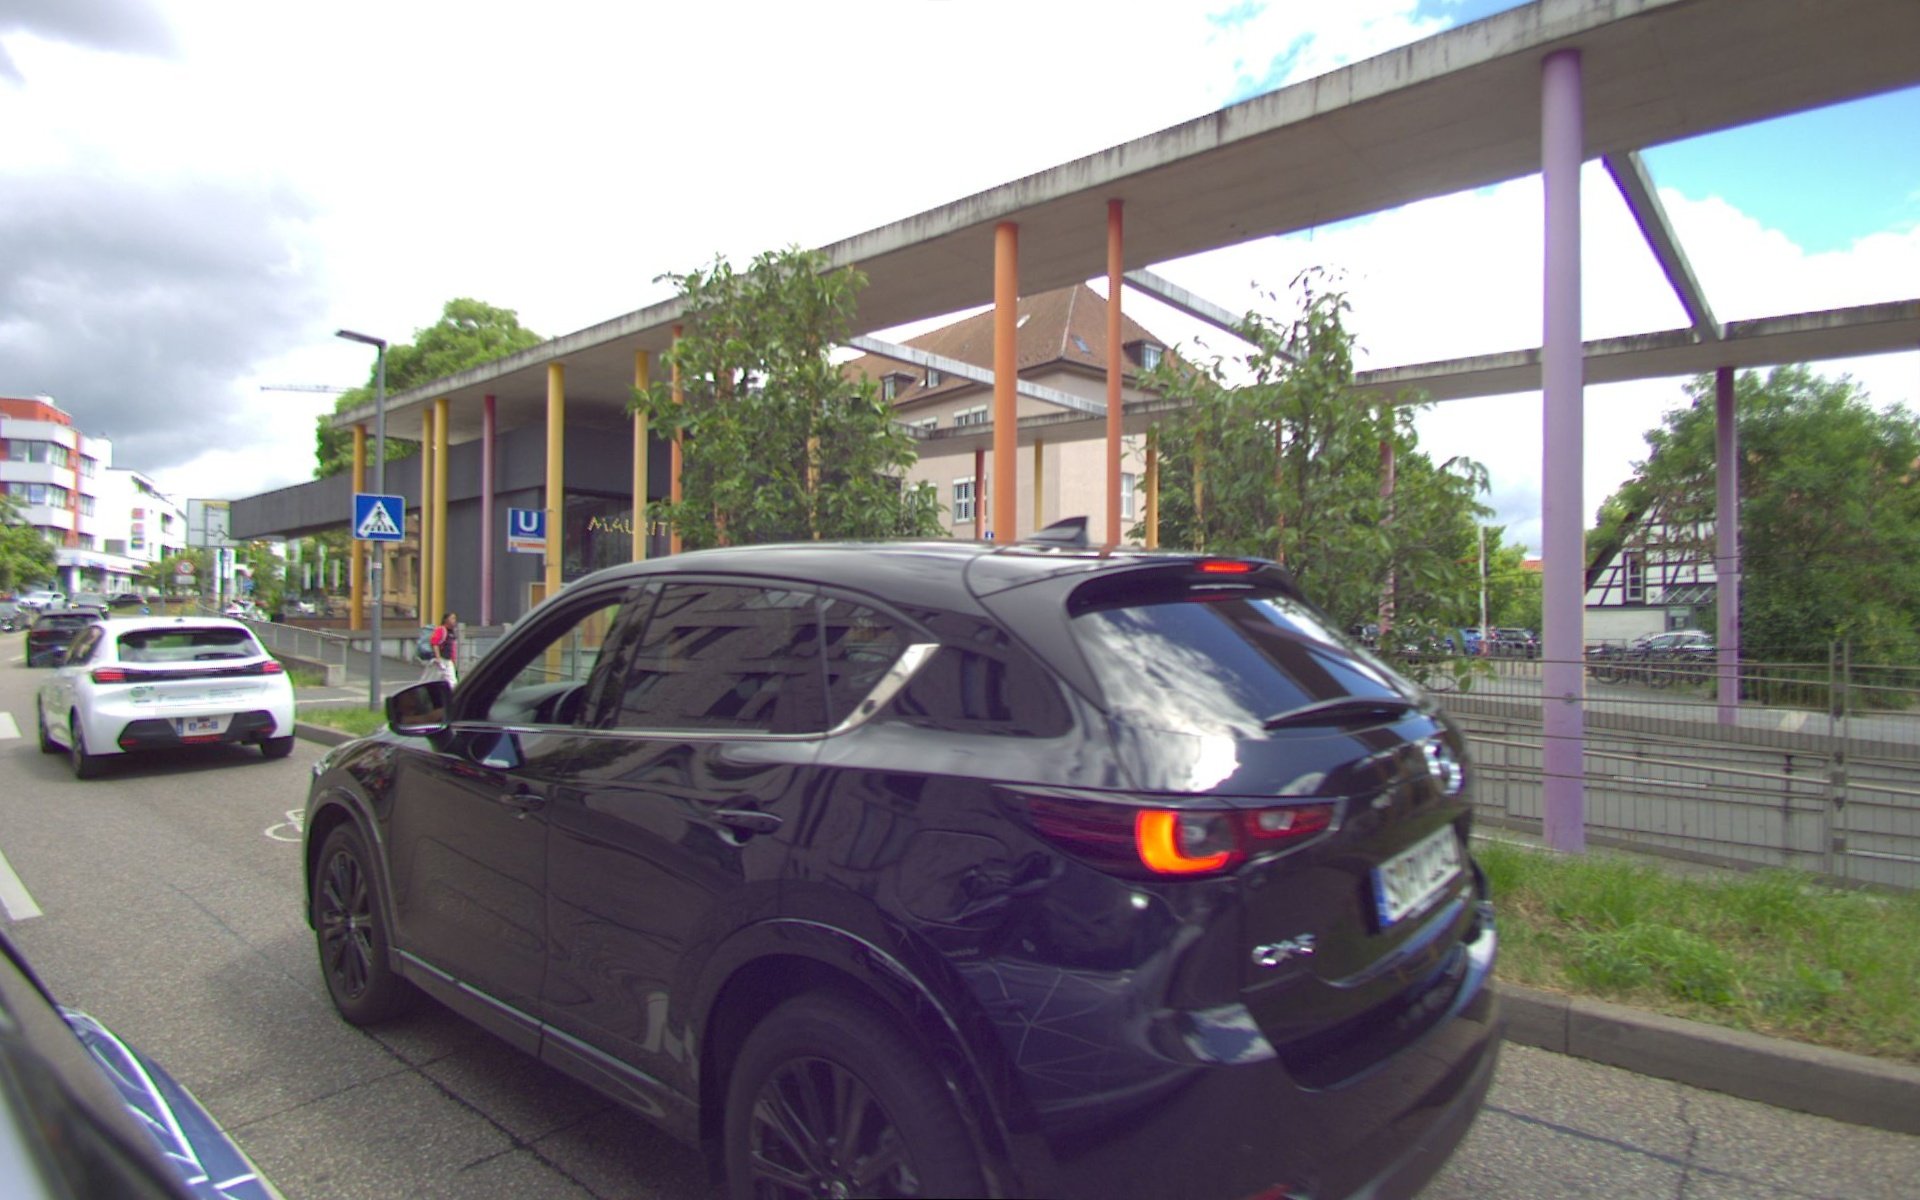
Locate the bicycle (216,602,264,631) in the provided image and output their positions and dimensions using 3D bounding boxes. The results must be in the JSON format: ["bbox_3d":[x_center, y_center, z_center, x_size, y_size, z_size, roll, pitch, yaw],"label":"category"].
[{"bbox_3d":[-29.165,0.686,41.008,1.526,1.136,0.535,2,-2,-35],"label":"bicycle"}]

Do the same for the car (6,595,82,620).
[{"bbox_3d":[-65.774,0.529,72.743,1.819,1.675,3.997,1,0,3],"label":"car"}]

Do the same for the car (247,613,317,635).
[{"bbox_3d":[-48.776,1.694,72.885,1.800,1.409,4.033,1,1,16],"label":"car"}]

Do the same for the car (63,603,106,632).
[{"bbox_3d":[-51.587,1.010,59.660,1.776,1.592,4.008,0,1,-39],"label":"car"}]

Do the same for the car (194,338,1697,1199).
[{"bbox_3d":[-0.593,0.586,3.196,4.622,1.617,1.900,-1,-1,39],"label":"car"}]

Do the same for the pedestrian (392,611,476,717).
[{"bbox_3d":[-8.218,0.966,15.825,0.814,1.577,0.918,1,0,39],"label":"pedestrian"}]

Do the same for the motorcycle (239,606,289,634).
[{"bbox_3d":[-37.230,1.066,54.133,2.160,1.460,0.650,2,-1,-36],"label":"motorcycle"}]

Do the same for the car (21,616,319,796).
[{"bbox_3d":[-8.249,0.925,10.448,3.907,1.480,1.792,-1,-1,42],"label":"car"}]

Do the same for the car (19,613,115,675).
[{"bbox_3d":[-23.304,1.094,26.532,1.750,1.475,4.241,0,-1,-40],"label":"car"}]

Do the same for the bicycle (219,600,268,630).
[{"bbox_3d":[-28.406,0.590,40.151,1.526,1.136,0.535,2,-2,-35],"label":"bicycle"}]

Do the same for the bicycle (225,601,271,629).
[{"bbox_3d":[-29.793,0.618,42.363,1.526,1.136,0.535,2,-2,-35],"label":"bicycle"}]

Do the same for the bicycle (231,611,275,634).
[{"bbox_3d":[-34.157,1.097,48.887,1.664,1.090,0.516,2,-4,-39],"label":"bicycle"}]

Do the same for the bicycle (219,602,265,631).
[{"bbox_3d":[-29.523,0.682,41.630,1.526,1.136,0.535,2,-2,-35],"label":"bicycle"}]

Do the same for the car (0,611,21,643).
[{"bbox_3d":[-46.746,1.251,48.430,1.967,1.424,4.748,2,-1,-35],"label":"car"}]
